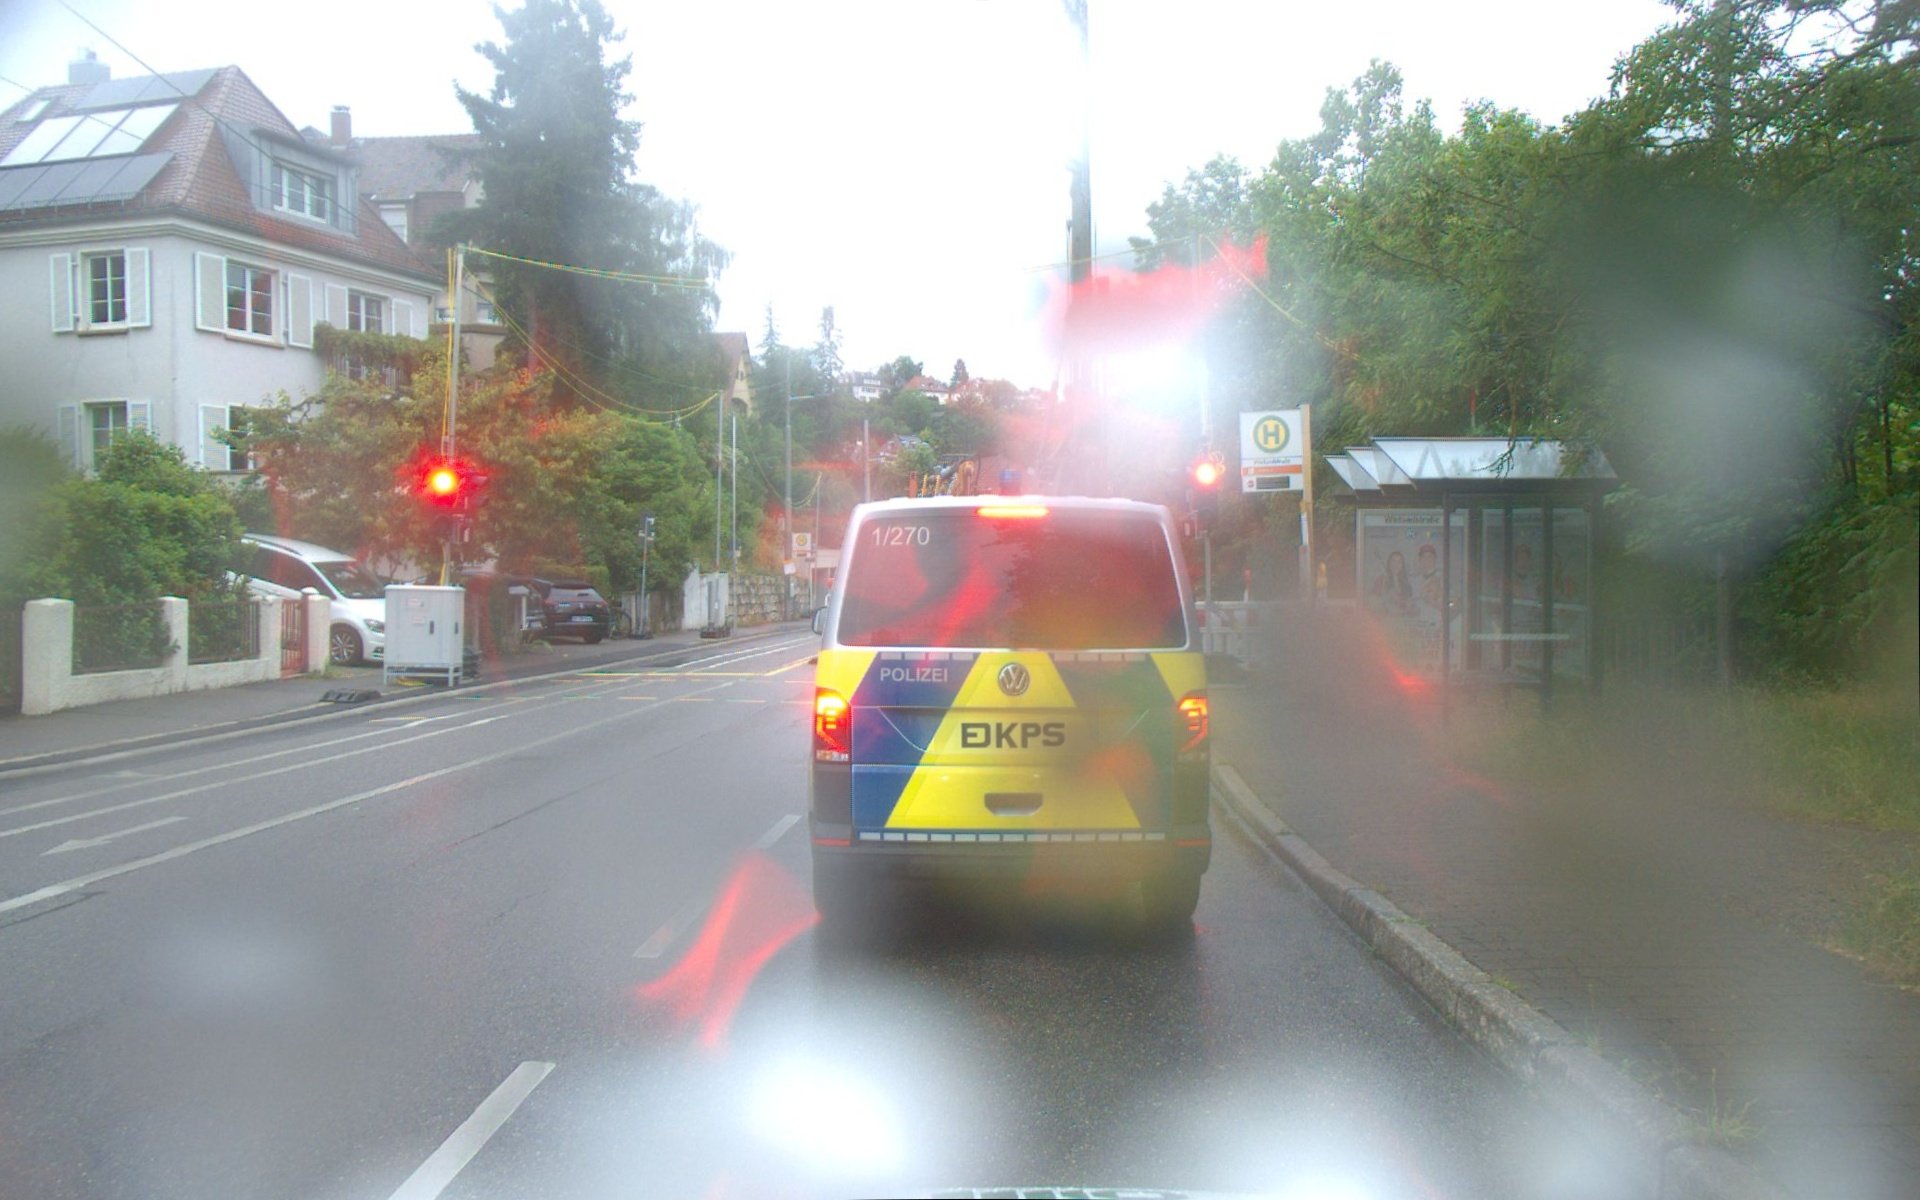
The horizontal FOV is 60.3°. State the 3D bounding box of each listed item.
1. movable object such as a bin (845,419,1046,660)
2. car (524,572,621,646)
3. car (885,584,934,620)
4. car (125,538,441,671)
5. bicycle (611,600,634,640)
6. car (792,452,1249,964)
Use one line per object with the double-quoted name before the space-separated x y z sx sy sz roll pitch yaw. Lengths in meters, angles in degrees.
"movable object such as a bin" -0.168 -1.095 31.648 2.770 4.250 4.384 1 0 14
"car" -8.913 0.175 37.838 1.739 1.512 3.721 1 2 -20
"car" -2.285 0.091 75.906 1.814 1.554 4.822 1 0 4
"car" -11.211 0.056 27.500 4.532 2.042 1.902 1 0 11
"bicycle" -8.056 0.466 39.464 0.455 0.913 1.628 0 0 -15
"car" 0.225 0.435 8.831 1.855 2.086 3.999 1 0 -1
